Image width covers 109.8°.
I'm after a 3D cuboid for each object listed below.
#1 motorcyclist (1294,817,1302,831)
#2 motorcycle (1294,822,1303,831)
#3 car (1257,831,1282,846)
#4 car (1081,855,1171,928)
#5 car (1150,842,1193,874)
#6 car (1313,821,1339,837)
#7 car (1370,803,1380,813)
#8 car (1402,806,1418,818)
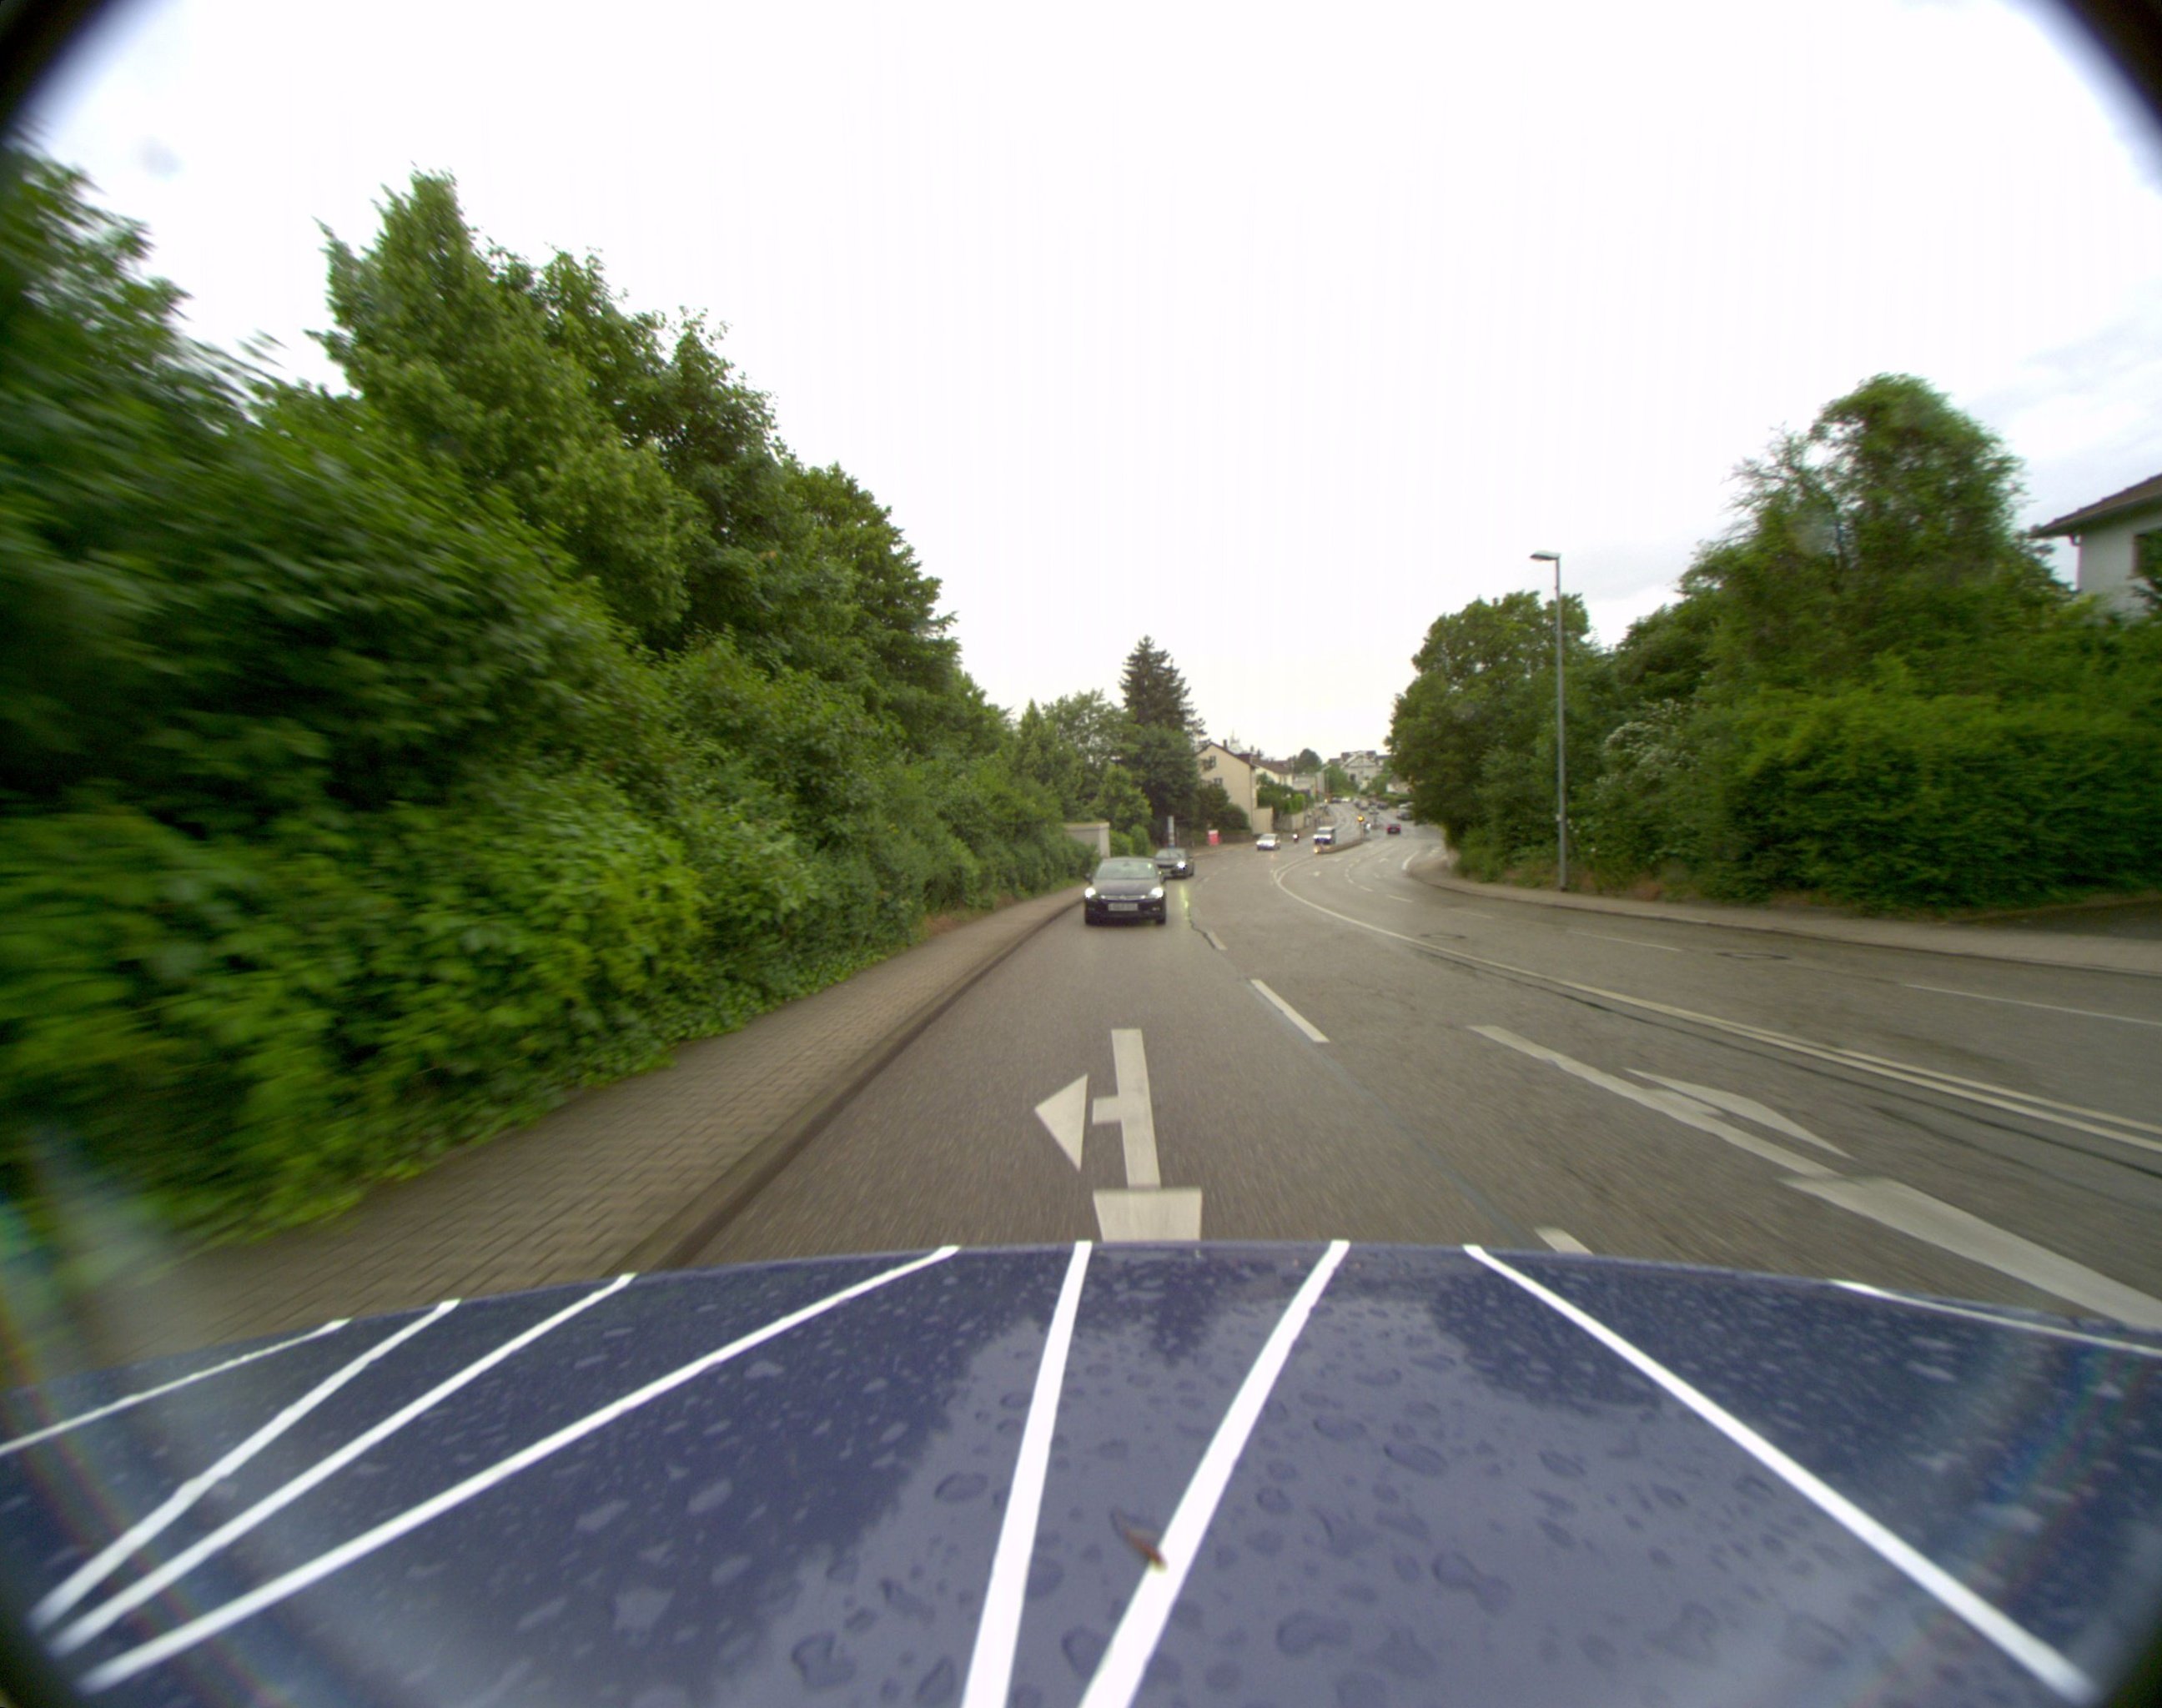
[{"bbox_3d":[25.706,-3.499,89.863,0.765,1.633,0.675,0,2,28],"label":"motorcyclist"},{"bbox_3d":[25.692,-3.208,89.804,0.691,1.047,1.750,1,2,28],"label":"motorcycle"},{"bbox_3d":[18.755,-1.553,75.381,1.814,1.430,4.006,1,1,23],"label":"car"},{"bbox_3d":[1.153,0.775,17.614,1.815,1.434,4.164,-1,1,6],"label":"car"},{"bbox_3d":[4.681,0.186,38.768,1.871,1.497,4.200,-2,0,11],"label":"car"},{"bbox_3d":[27.517,-2.787,85.243,1.774,1.765,4.008,1,1,32],"label":"car"},{"bbox_3d":[62.591,-9.749,161.676,1.850,1.774,4.005,-1,1,18],"label":"car"},{"bbox_3d":[58.445,-7.469,135.001,1.996,2.002,4.004,-1,1,16],"label":"car"}]
